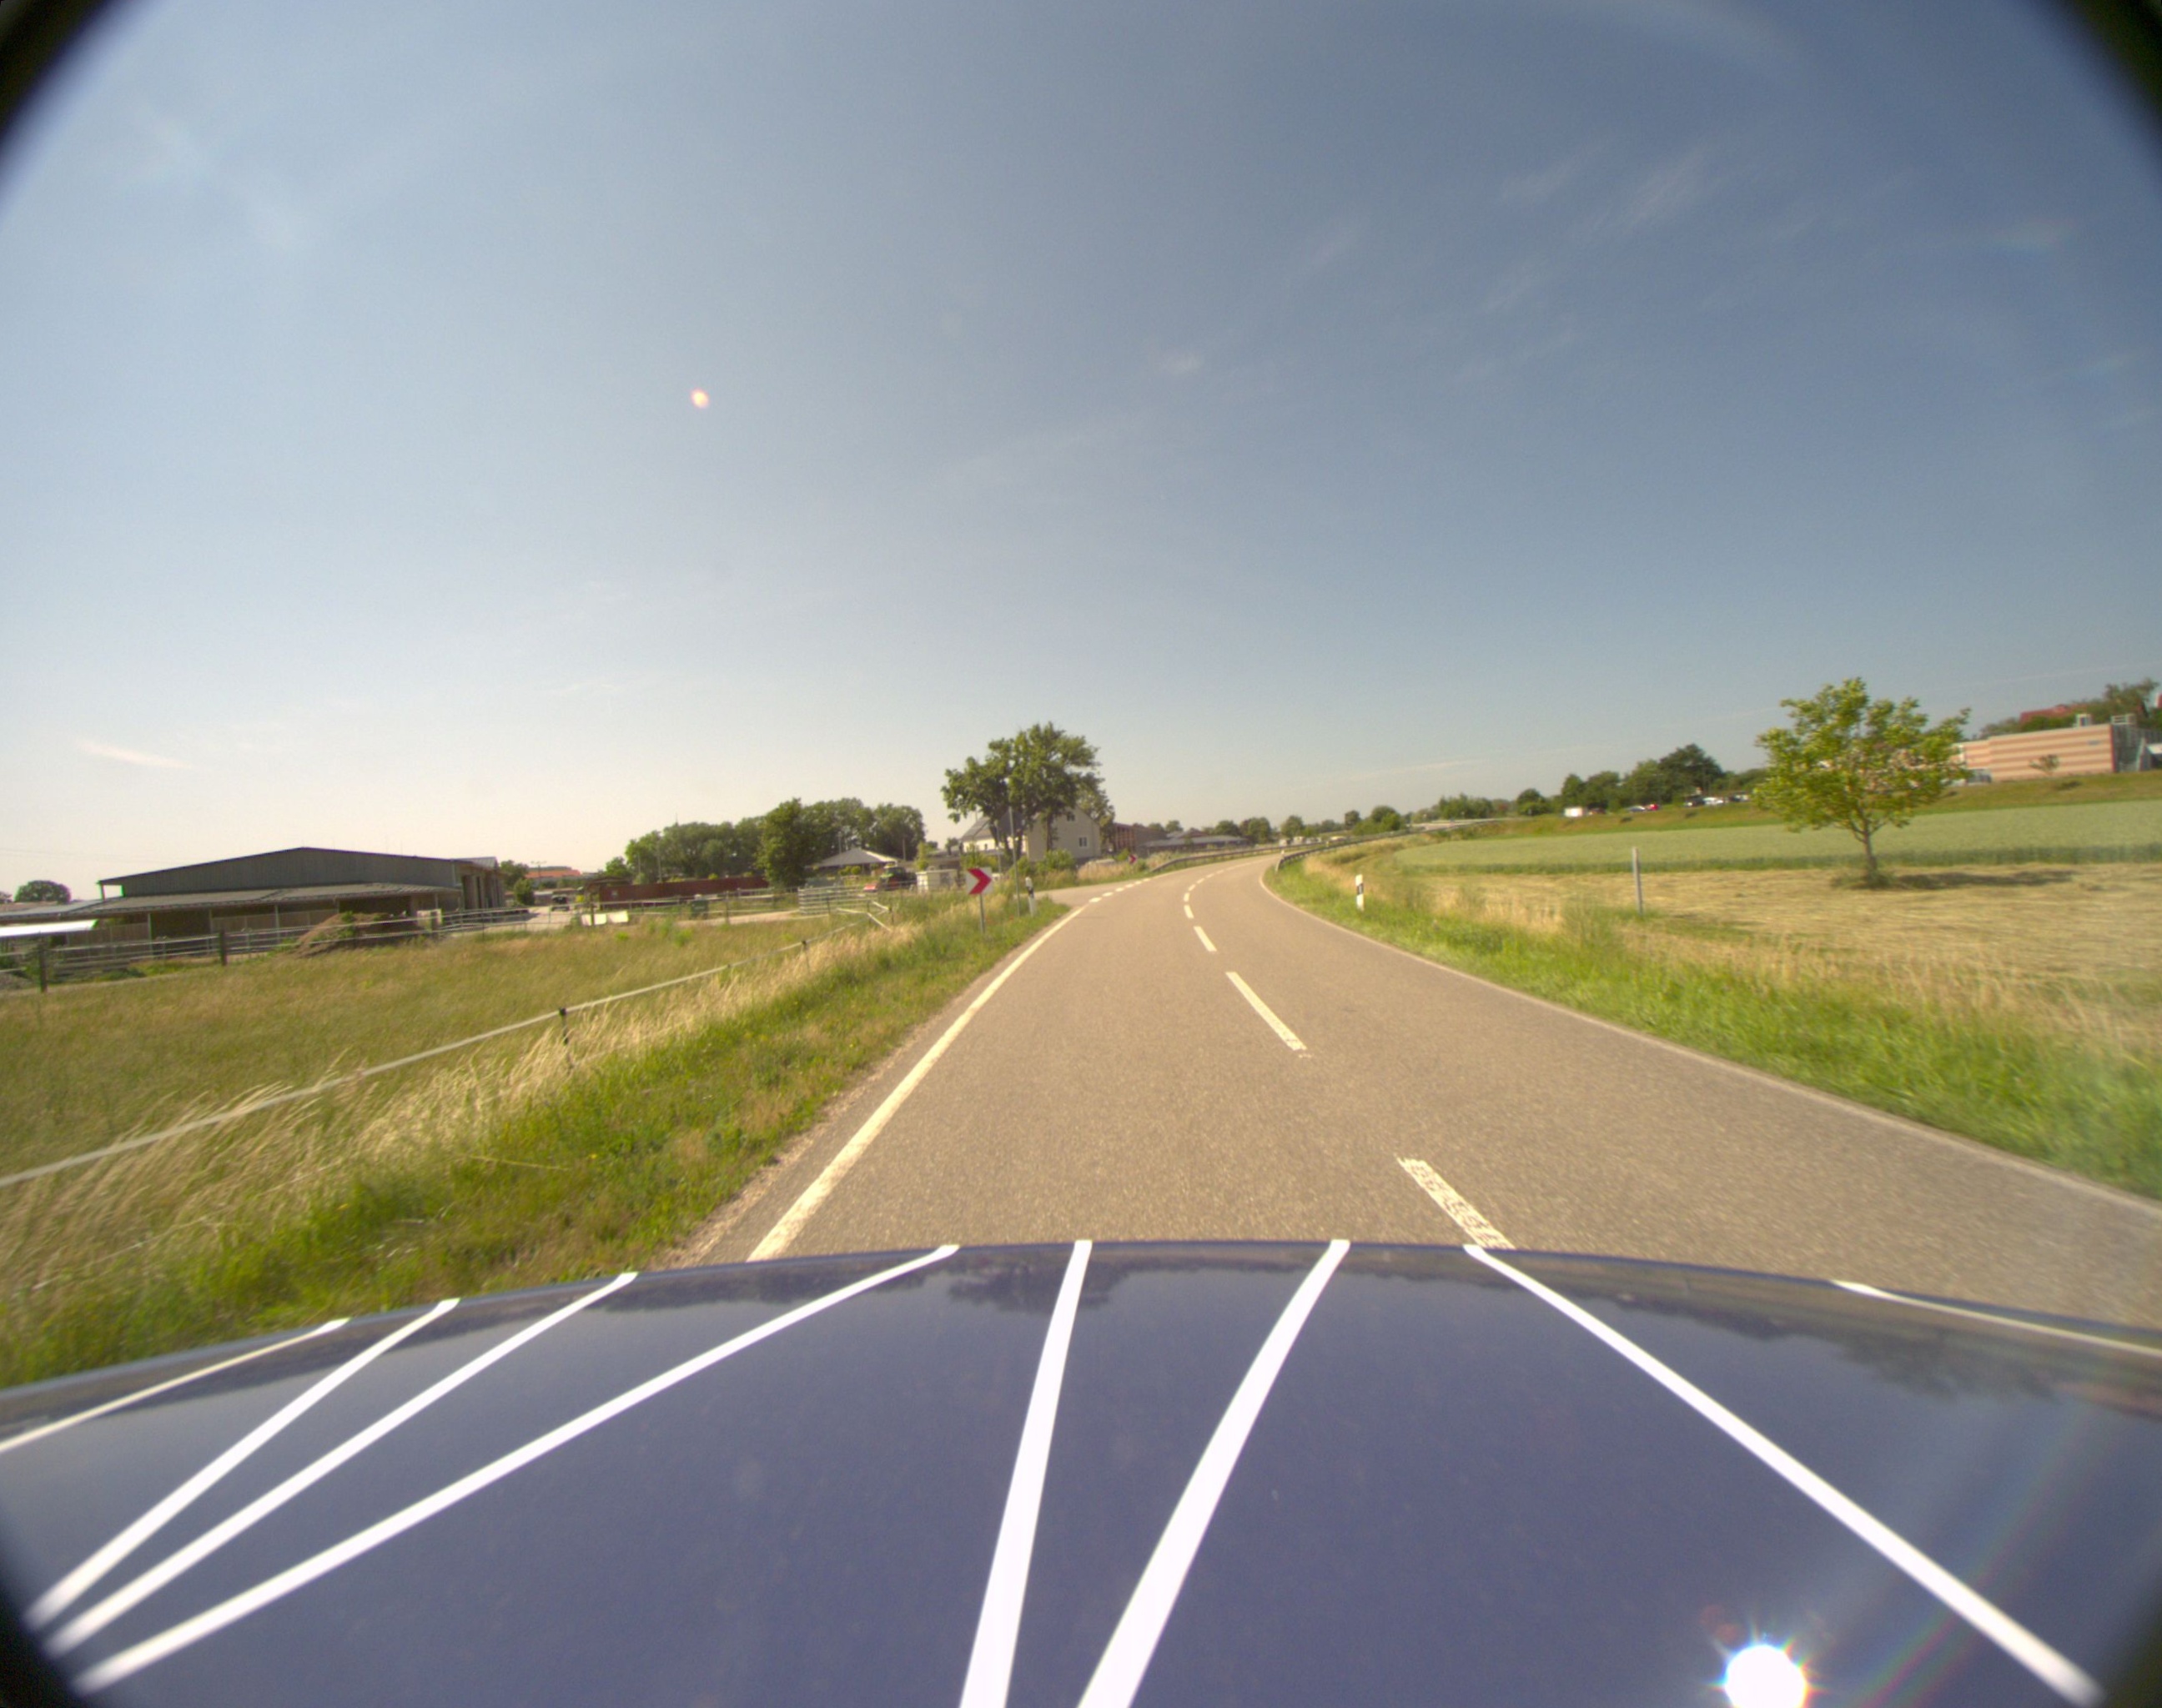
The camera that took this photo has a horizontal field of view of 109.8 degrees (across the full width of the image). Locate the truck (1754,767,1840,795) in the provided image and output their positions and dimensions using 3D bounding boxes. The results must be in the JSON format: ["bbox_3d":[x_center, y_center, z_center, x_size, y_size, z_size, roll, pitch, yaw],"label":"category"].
[{"bbox_3d":[120.578,-12.288,128.180,2.881,3.457,9.924,-7,1,-25],"label":"truck"}]

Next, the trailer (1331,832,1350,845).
[{"bbox_3d":[61.217,-3.729,179.135,2.168,2.789,3.413,-6,1,-33],"label":"trailer"}]

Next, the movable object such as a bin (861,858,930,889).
[{"bbox_3d":[-20.235,2.089,83.022,6.516,2.753,3.005,-5,-1,-45],"label":"movable object such as a bin"}]

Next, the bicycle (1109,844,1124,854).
[{"bbox_3d":[4.768,-0.679,102.161,1.972,1.185,0.713,-5,1,-30],"label":"bicycle"}]

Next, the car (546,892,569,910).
[{"bbox_3d":[-69.024,6.194,100.219,2.002,2.002,3.992,-7,2,-30],"label":"car"}]

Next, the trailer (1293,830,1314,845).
[{"bbox_3d":[45.281,-3.341,154.782,2.234,2.848,5.041,-4,1,-6],"label":"trailer"}]

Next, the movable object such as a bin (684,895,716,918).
[{"bbox_3d":[-25.402,3.508,50.677,1.519,1.341,1.370,-6,1,-41],"label":"movable object such as a bin"}]

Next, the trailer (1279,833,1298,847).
[{"bbox_3d":[41.438,-2.849,151.856,2.174,2.656,4.477,-4,2,-6],"label":"trailer"}]
